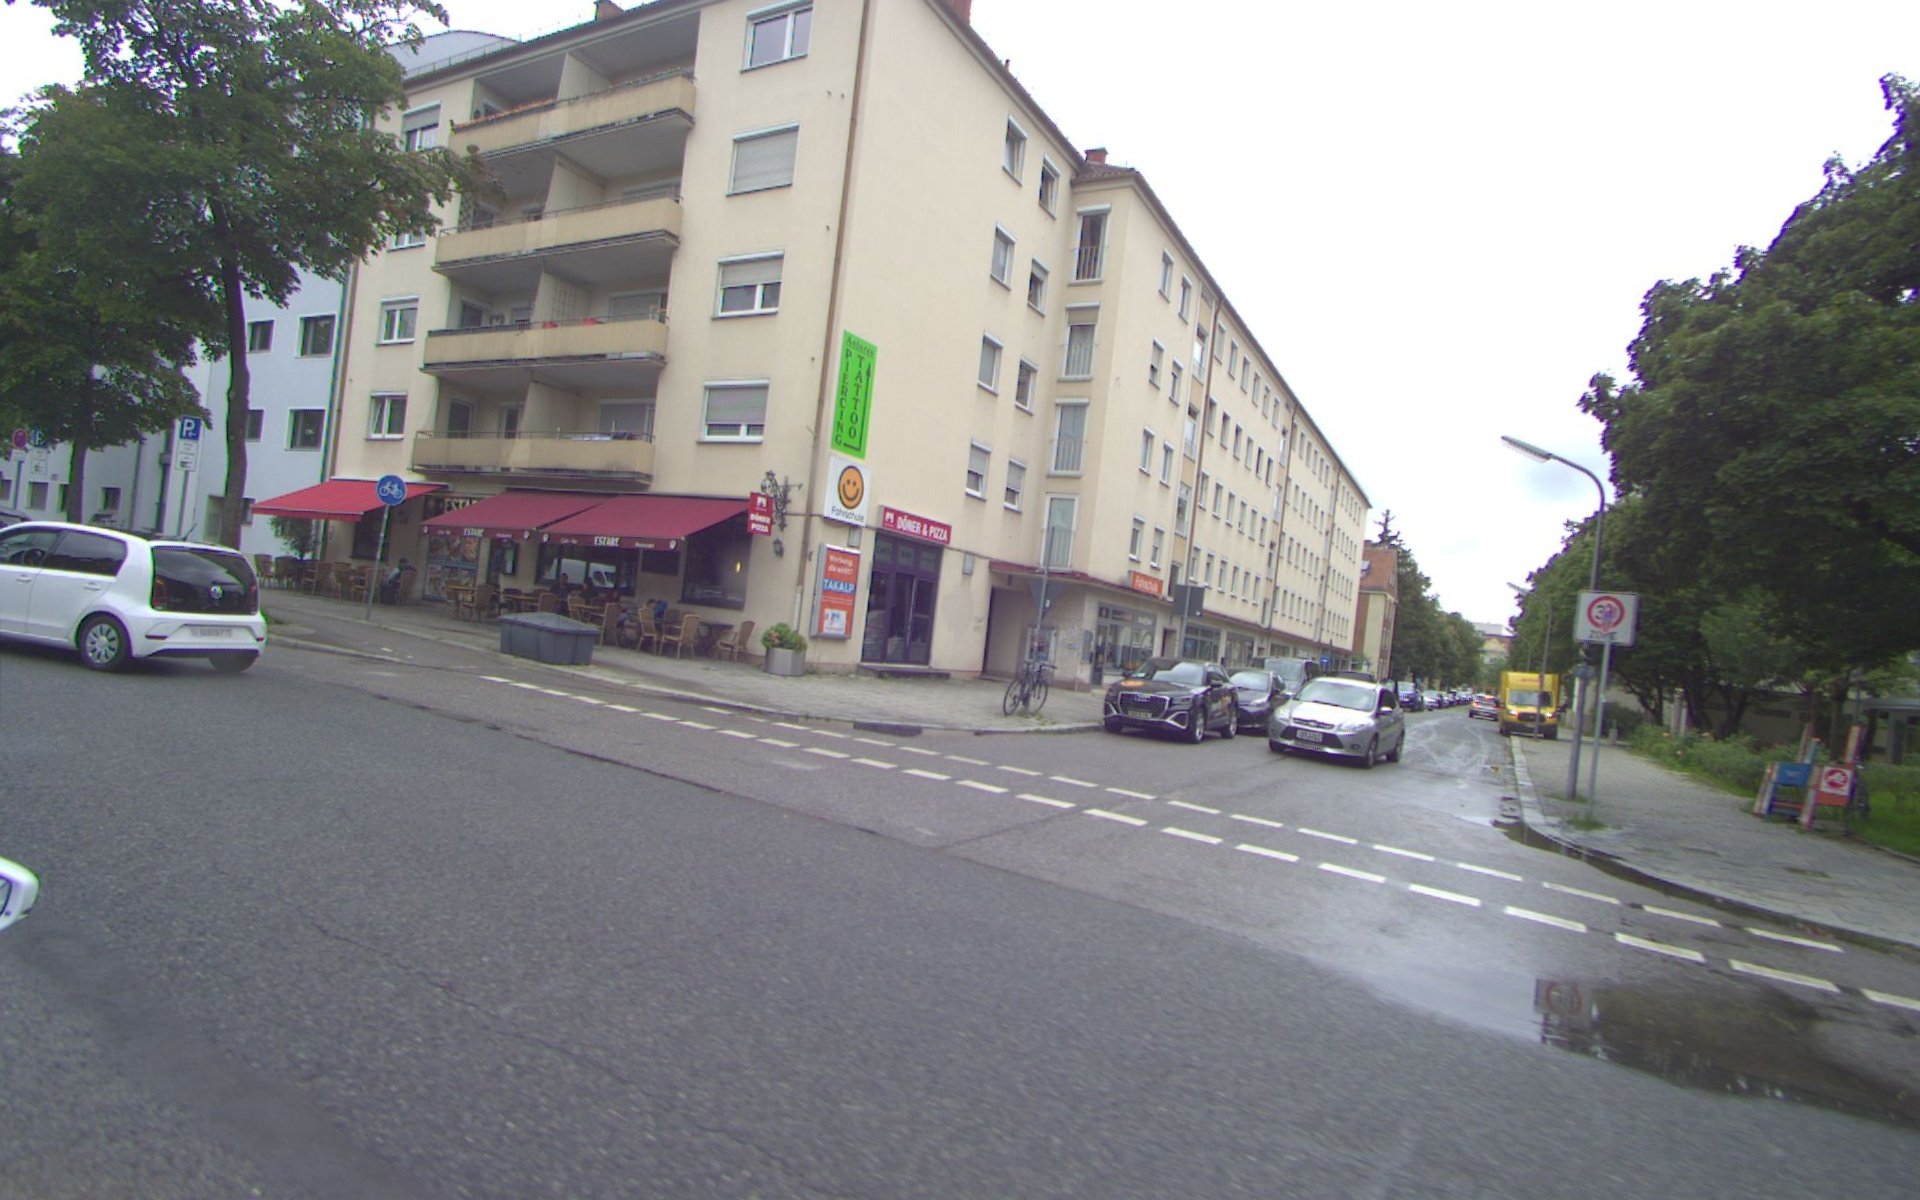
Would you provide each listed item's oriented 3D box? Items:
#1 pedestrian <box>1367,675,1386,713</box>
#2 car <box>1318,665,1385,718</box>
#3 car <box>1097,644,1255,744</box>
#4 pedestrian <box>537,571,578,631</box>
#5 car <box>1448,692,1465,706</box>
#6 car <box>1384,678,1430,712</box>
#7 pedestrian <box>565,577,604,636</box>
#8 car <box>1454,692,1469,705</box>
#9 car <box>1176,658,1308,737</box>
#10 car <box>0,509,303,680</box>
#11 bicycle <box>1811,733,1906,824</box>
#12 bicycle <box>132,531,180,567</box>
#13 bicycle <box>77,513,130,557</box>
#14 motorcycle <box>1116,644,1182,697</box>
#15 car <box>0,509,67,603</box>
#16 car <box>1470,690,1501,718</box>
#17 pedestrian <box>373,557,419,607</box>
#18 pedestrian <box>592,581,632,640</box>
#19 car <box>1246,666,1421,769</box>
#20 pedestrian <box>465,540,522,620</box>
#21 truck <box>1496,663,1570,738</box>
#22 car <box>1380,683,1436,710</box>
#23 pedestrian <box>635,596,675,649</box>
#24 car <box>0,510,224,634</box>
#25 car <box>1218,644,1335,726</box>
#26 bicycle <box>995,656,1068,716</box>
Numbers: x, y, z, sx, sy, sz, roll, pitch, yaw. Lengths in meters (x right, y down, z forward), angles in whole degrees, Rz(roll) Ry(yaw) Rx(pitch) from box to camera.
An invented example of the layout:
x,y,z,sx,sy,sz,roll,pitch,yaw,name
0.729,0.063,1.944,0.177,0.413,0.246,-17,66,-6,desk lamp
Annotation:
x,y,z,sx,sy,sz,roll,pitch,yaw,name
17.504,3.953,42.258,0.486,1.551,0.733,6,-1,31,pedestrian
16.506,3.835,42.275,2.117,1.806,4.999,6,-2,25,car
4.244,1.800,19.338,1.701,1.537,3.933,6,-2,30,car
-9.583,0.027,23.952,0.543,1.355,0.539,6,-1,31,pedestrian
63.230,12.601,128.018,1.573,1.459,3.763,6,-2,30,car
28.358,6.042,63.718,1.966,1.806,4.994,6,-2,30,car
-8.656,0.148,23.182,0.479,1.283,0.539,6,-1,31,pedestrian
71.895,14.124,144.269,1.573,1.638,3.763,6,-2,30,car
6.770,2.298,23.866,1.966,1.459,3.995,6,-2,30,car
-9.498,-0.110,11.117,3.369,1.507,1.694,7,-1,10,car
13.723,2.699,15.410,0.687,1.170,1.472,6,-1,30,bicycle
-27.901,-1.772,34.890,2.159,1.061,0.621,6,3,32,bicycle
-31.528,-2.392,37.027,2.550,1.425,0.703,6,2,32,bicycle
5.919,2.230,31.289,0.875,1.459,3.259,6,-2,30,motorcycle
-18.325,-0.994,18.240,4.448,1.540,1.833,6,-1,31,car
36.380,7.184,69.605,1.573,1.638,3.763,6,-2,30,car
-14.781,-0.470,26.376,0.636,1.177,0.744,6,-1,32,pedestrian
-7.837,0.238,22.671,0.479,1.229,0.539,6,-1,32,pedestrian
7.101,2.166,18.849,1.969,1.459,4.212,6,-2,35,car
-12.102,-0.503,26.116,0.747,1.952,0.872,7,-1,16,pedestrian
24.936,4.358,44.000,2.236,2.803,6.764,5,-2,27,truck
33.484,7.191,75.239,3.701,1.459,1.599,6,-1,26,car
-6.605,0.495,21.778,0.479,1.066,0.539,6,-1,32,pedestrian
-13.616,-0.483,15.675,3.820,1.490,1.834,6,-1,27,car
9.136,2.435,28.705,1.966,1.907,4.994,6,-2,30,car
1.357,1.627,18.819,0.545,1.022,1.541,6,-1,35,bicycle
